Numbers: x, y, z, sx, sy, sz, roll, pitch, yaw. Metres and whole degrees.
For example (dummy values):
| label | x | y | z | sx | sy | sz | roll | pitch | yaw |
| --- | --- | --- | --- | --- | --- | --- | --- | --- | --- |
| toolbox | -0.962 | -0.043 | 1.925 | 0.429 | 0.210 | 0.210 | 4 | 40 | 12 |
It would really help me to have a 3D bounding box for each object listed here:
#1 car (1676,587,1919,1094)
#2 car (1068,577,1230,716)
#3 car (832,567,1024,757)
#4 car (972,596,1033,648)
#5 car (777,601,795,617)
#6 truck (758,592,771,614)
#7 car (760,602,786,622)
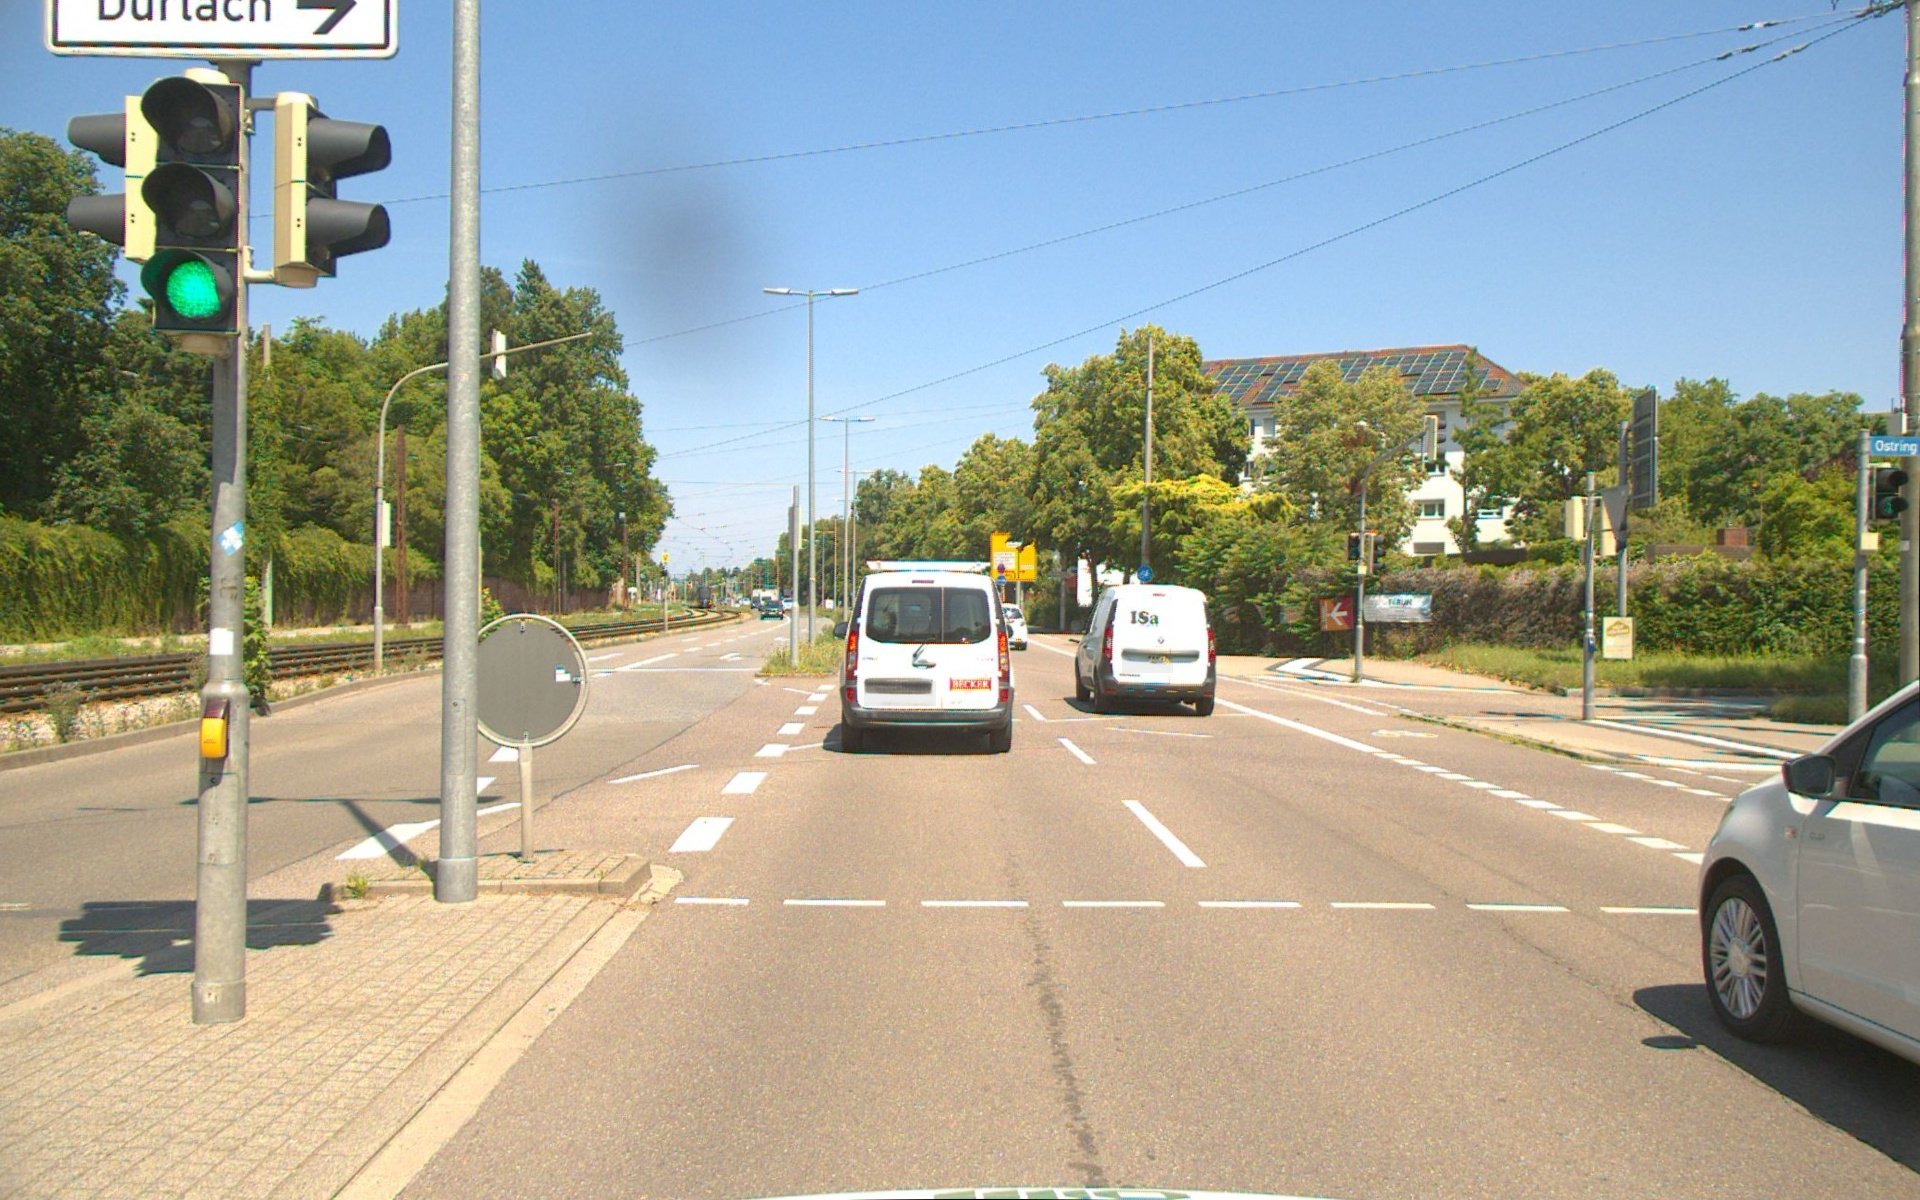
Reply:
| label | x | y | z | sx | sy | sz | roll | pitch | yaw |
| --- | --- | --- | --- | --- | --- | --- | --- | --- | --- |
| car | 3.609 | 0.732 | 4.691 | 1.577 | 1.472 | 3.435 | 2 | 0 | -1 |
| car | 2.700 | 0.638 | 24.471 | 1.693 | 1.819 | 4.062 | 2 | 0 | -3 |
| car | -0.369 | 0.588 | 18.042 | 1.784 | 1.770 | 4.394 | 2 | 0 | -2 |
| car | 1.411 | 0.709 | 56.119 | 1.798 | 1.596 | 3.999 | 2 | 0 | -2 |
| car | -21.464 | 1.120 | 203.940 | 1.954 | 1.847 | 3.998 | 1 | 0 | -3 |
| truck | -29.478 | 0.501 | 249.560 | 1.955 | 3.270 | 5.304 | 1 | 0 | -7 |
| car | -15.046 | 0.933 | 133.187 | 1.662 | 1.539 | 4.066 | 0 | 0 | 0 |
